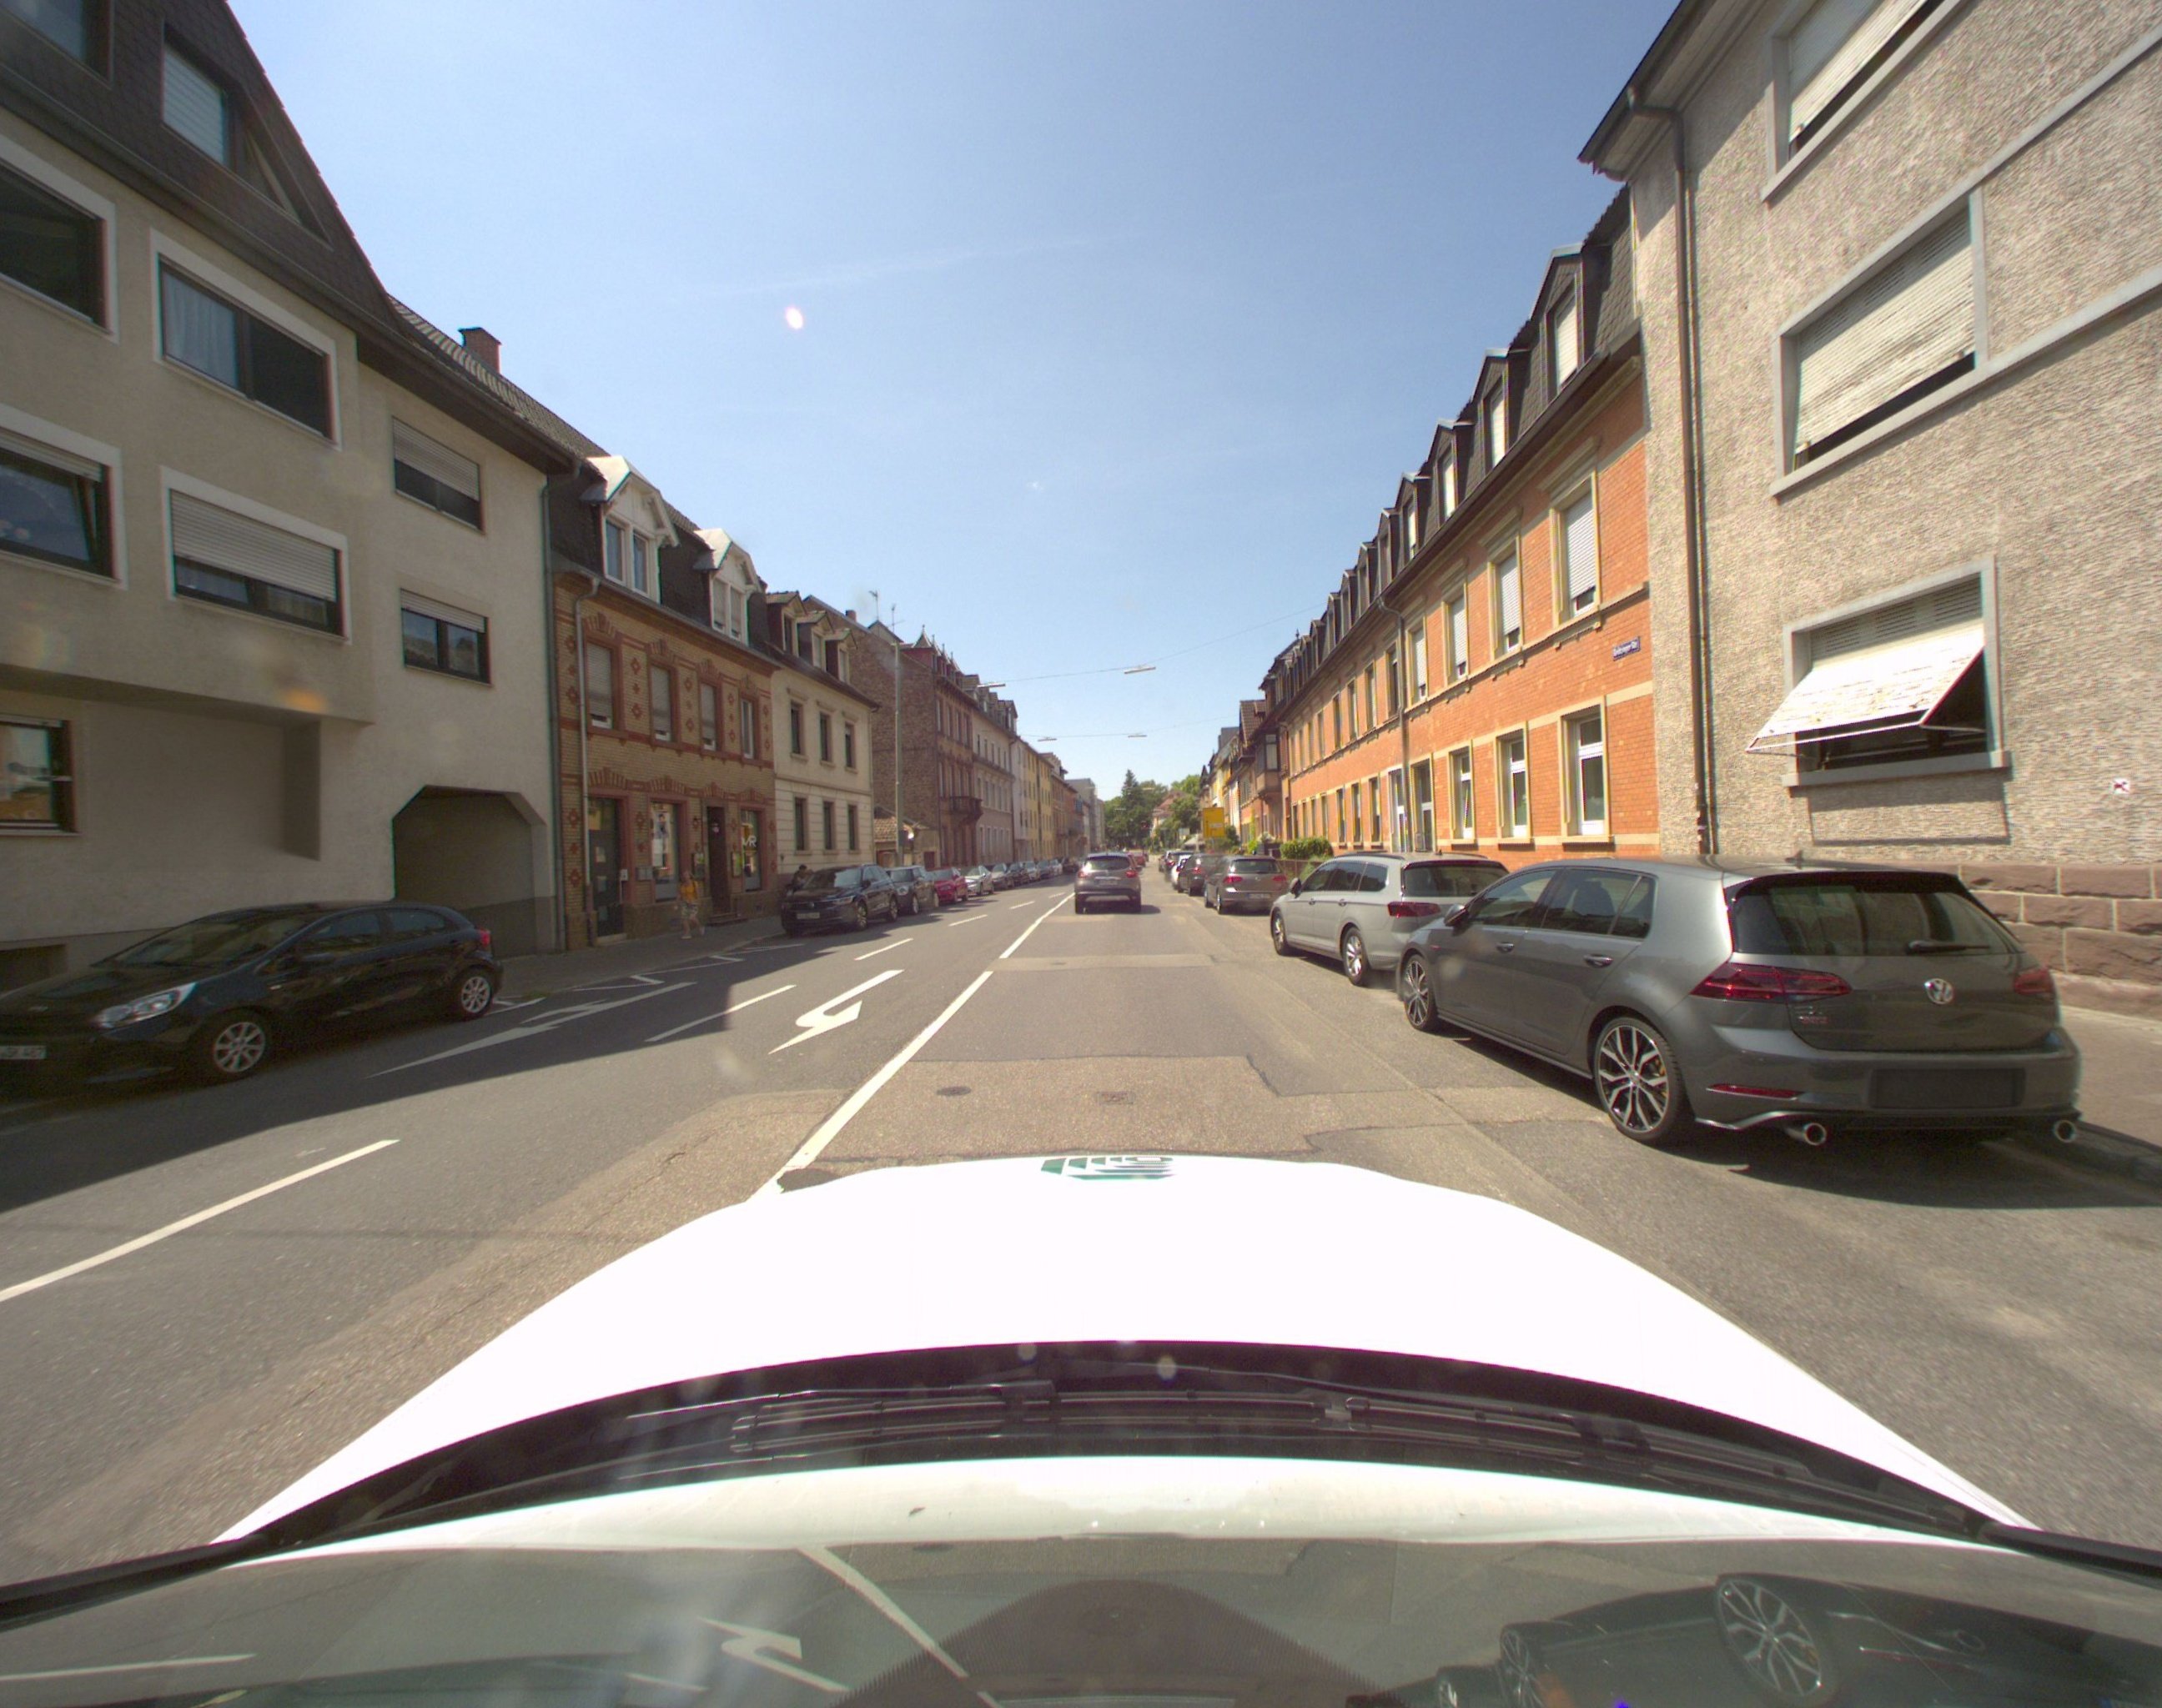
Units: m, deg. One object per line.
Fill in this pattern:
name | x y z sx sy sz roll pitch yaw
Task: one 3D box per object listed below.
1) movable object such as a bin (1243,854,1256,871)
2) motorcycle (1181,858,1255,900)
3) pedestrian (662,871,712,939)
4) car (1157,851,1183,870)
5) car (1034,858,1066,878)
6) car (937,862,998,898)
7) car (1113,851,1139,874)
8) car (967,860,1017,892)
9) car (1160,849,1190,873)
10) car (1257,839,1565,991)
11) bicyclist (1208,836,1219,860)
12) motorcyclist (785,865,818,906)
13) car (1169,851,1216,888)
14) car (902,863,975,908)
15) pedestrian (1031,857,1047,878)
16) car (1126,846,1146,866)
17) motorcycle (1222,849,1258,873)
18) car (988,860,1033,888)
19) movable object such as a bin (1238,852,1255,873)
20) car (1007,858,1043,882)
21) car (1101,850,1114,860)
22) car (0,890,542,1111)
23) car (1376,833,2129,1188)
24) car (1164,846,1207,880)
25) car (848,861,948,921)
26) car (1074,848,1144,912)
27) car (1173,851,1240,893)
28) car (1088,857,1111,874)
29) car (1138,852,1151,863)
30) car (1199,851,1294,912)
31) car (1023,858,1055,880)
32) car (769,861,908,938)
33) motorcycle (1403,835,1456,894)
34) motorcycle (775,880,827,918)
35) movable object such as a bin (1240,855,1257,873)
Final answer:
movable object such as a bin | 10.391 0.530 50.319 0.655 1.055 0.750 -2 0 5
motorcycle | 4.283 0.765 25.543 1.971 1.225 1.120 -1 0 43
pedestrian | -9.060 1.161 18.762 0.605 1.495 0.972 -1 0 4
car | 7.309 0.531 67.224 1.852 1.487 4.313 -1 0 3
car | -2.502 1.142 66.501 1.831 1.422 4.565 -5 -1 6
car | -5.208 1.163 37.874 1.832 1.422 4.506 -4 -1 3
car | 3.428 0.641 62.121 1.805 1.620 4.445 -4 0 3
car | -4.689 1.156 43.726 1.833 1.422 4.505 -7 -1 2
car | 7.062 0.473 61.707 1.853 1.748 4.620 -1 0 2
car | 3.812 0.621 10.424 1.850 1.463 4.544 -2 0 -4
bicyclist | 8.018 -0.357 49.404 0.530 1.469 0.792 -3 0 5
motorcyclist | -8.859 0.987 25.811 0.715 1.248 0.712 -2 0 3
car | 4.729 0.610 35.120 1.708 1.414 4.595 -3 0 5
car | -5.404 1.141 31.394 1.833 1.422 4.503 -5 0 1
pedestrian | -3.594 1.157 69.812 1.145 1.750 0.971 -3 0 6
car | 6.013 0.222 89.070 1.985 2.013 4.470 -3 0 4
motorcycle | 10.319 0.465 52.875 2.120 1.408 0.938 -4 -1 3
car | -4.219 1.168 49.583 1.831 1.422 4.509 -6 -1 5
movable object such as a bin | 9.124 0.462 44.873 0.785 1.088 0.539 -3 0 1
car | -3.698 1.068 54.826 1.832 1.422 4.505 -4 -1 2
car | 4.938 0.128 151.192 1.895 1.821 4.310 -3 0 6
car | -8.026 1.203 8.402 1.833 1.488 4.504 0 0 1
car | 3.564 0.657 5.445 1.646 1.420 4.047 -2 0 0
car | 5.589 0.469 43.904 1.984 1.662 4.631 -3 0 4
car | -5.843 1.125 26.593 1.832 1.596 4.506 -6 -1 3
car | 0.787 0.664 22.678 1.737 1.616 4.002 -1 0 2
car | 4.545 0.632 30.131 1.644 1.414 4.498 -2 0 -2
car | 1.623 0.971 70.862 1.783 1.420 4.319 -2 0 4
car | 9.719 0.516 124.931 1.754 1.560 3.949 -2 0 6
car | 4.182 0.653 21.177 1.694 1.380 4.168 -2 0 2
car | -3.106 1.095 60.739 1.832 1.422 4.649 -4 -1 2
car | -6.003 1.055 20.795 1.832 1.596 4.506 -4 -1 3
motorcycle | 7.570 0.223 17.726 0.593 1.225 1.362 -2 -1 3
motorcycle | -8.839 1.396 25.762 0.841 1.078 1.873 -2 0 4
movable object such as a bin | 9.086 0.543 44.230 0.785 0.907 0.539 -3 0 1
